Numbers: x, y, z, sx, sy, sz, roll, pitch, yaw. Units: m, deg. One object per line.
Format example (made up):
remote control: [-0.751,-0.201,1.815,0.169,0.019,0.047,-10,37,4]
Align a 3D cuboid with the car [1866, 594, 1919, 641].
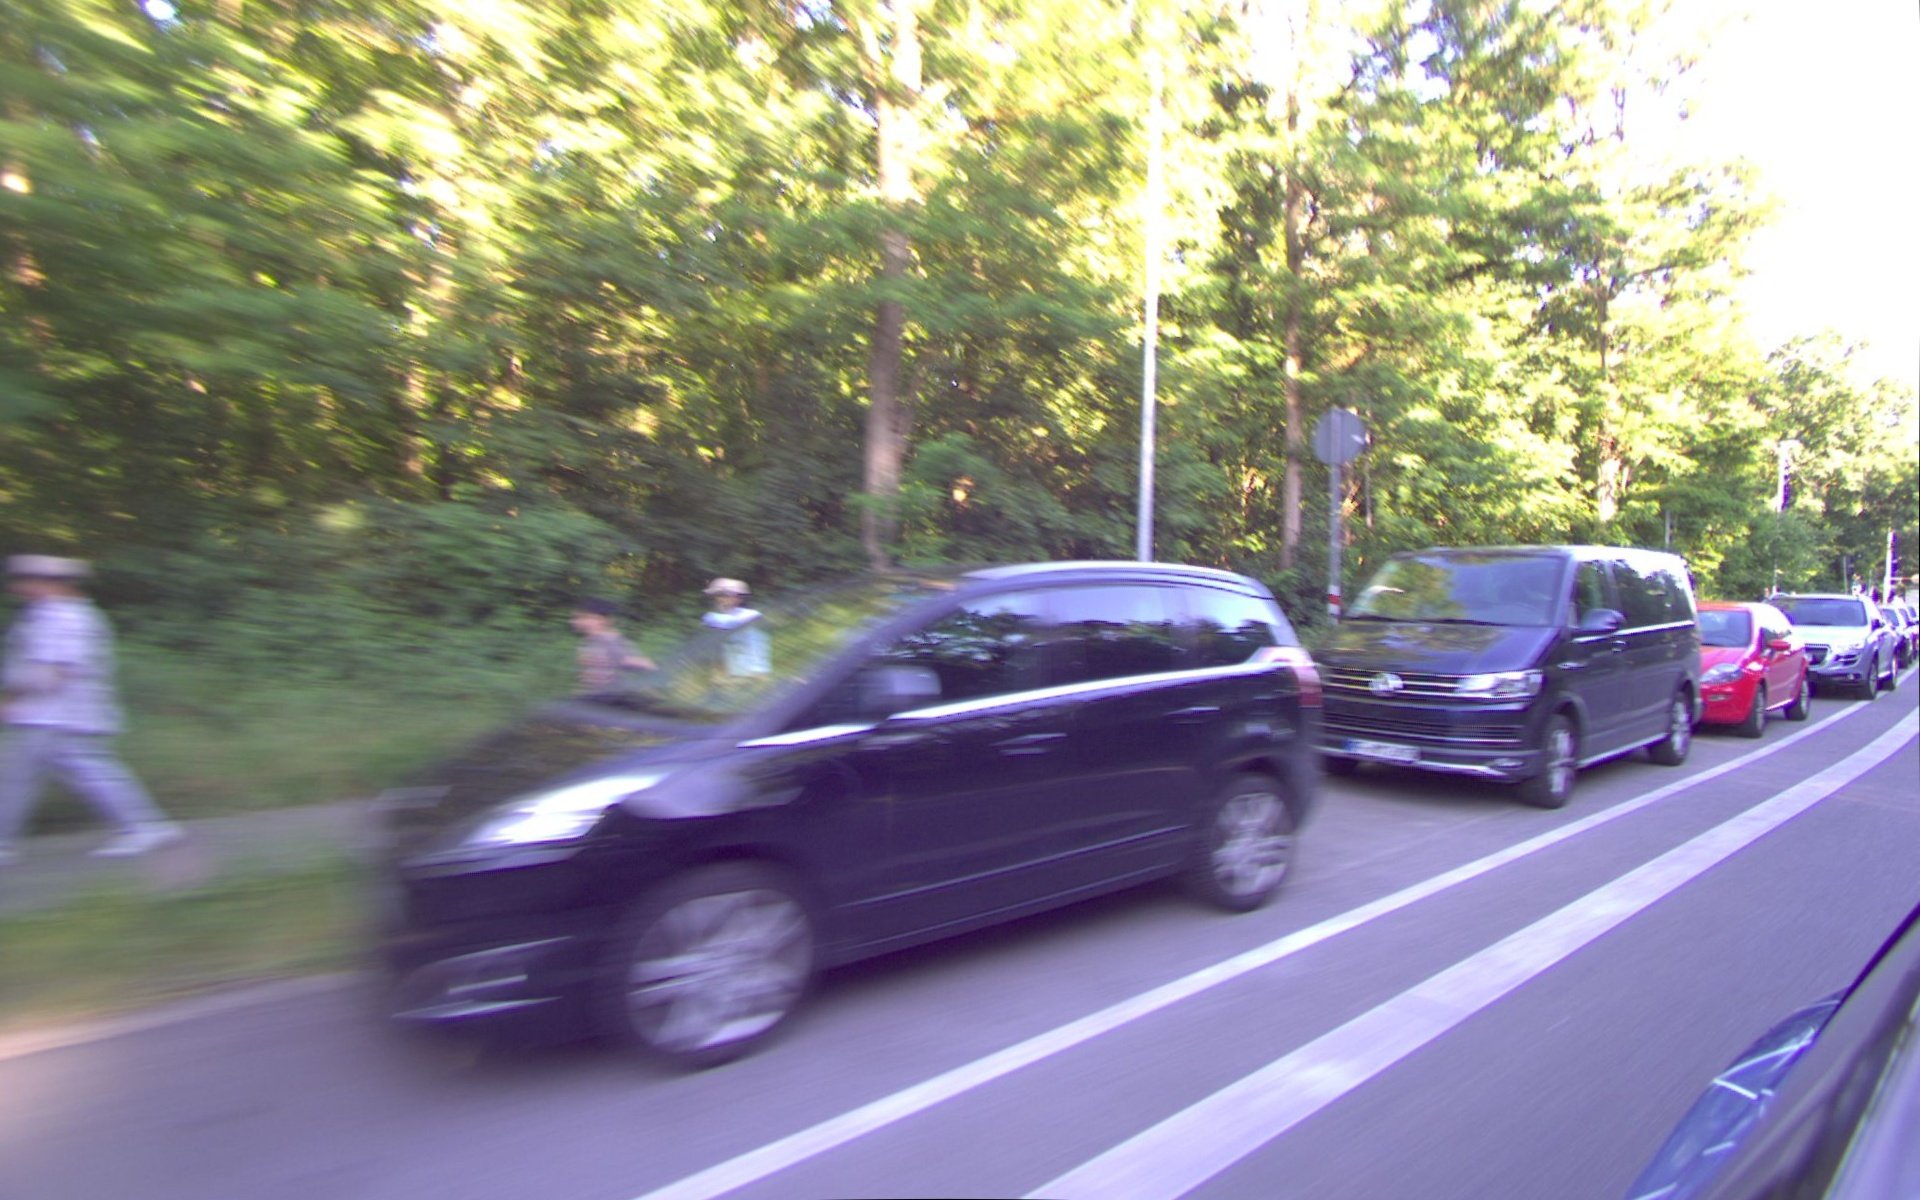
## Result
car: [33.365,0.584,35.680,4.287,1.543,1.739,0,2,-44]

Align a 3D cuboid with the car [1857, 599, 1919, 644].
car: [30.155,0.661,32.576,3.777,1.336,1.630,0,1,-44]

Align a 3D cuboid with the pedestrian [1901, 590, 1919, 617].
pedestrian: [66.107,0.233,70.403,0.721,1.821,0.808,0,1,-41]

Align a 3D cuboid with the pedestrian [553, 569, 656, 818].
pedestrian: [-2.436,0.598,6.922,0.473,1.607,0.565,0,2,-40]

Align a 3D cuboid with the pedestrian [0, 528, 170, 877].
pedestrian: [-4.919,0.514,5.553,0.891,1.786,0.619,0,2,-41]

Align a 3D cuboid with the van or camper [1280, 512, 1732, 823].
van or camper: [4.908,0.409,8.811,4.505,2.038,1.902,0,2,-40]

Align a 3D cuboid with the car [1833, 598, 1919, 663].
car: [22.212,0.671,24.314,3.736,1.419,1.595,0,1,-45]

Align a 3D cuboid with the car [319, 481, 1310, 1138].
car: [-0.435,0.506,4.479,3.953,1.677,1.804,0,2,-36]

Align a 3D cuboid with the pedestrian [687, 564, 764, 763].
pedestrian: [-1.974,0.512,8.514,0.473,1.607,0.395,0,2,-41]

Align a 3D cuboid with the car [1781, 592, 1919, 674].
car: [18.726,0.621,21.174,4.428,1.538,1.809,0,0,-43]

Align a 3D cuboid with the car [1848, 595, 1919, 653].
car: [25.569,0.606,27.793,1.616,1.487,3.666,0,0,44]

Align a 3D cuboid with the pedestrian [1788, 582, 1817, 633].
pedestrian: [31.377,0.268,37.672,0.675,1.820,0.777,5,3,44]

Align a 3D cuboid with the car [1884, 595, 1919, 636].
car: [36.643,0.570,38.690,3.953,1.470,1.658,0,2,-44]

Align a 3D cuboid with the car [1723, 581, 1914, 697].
car: [14.016,0.542,16.449,3.959,1.615,1.802,0,2,-42]

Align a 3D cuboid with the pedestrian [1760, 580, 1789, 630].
pedestrian: [30.721,0.170,38.169,0.675,1.820,0.938,5,3,44]
